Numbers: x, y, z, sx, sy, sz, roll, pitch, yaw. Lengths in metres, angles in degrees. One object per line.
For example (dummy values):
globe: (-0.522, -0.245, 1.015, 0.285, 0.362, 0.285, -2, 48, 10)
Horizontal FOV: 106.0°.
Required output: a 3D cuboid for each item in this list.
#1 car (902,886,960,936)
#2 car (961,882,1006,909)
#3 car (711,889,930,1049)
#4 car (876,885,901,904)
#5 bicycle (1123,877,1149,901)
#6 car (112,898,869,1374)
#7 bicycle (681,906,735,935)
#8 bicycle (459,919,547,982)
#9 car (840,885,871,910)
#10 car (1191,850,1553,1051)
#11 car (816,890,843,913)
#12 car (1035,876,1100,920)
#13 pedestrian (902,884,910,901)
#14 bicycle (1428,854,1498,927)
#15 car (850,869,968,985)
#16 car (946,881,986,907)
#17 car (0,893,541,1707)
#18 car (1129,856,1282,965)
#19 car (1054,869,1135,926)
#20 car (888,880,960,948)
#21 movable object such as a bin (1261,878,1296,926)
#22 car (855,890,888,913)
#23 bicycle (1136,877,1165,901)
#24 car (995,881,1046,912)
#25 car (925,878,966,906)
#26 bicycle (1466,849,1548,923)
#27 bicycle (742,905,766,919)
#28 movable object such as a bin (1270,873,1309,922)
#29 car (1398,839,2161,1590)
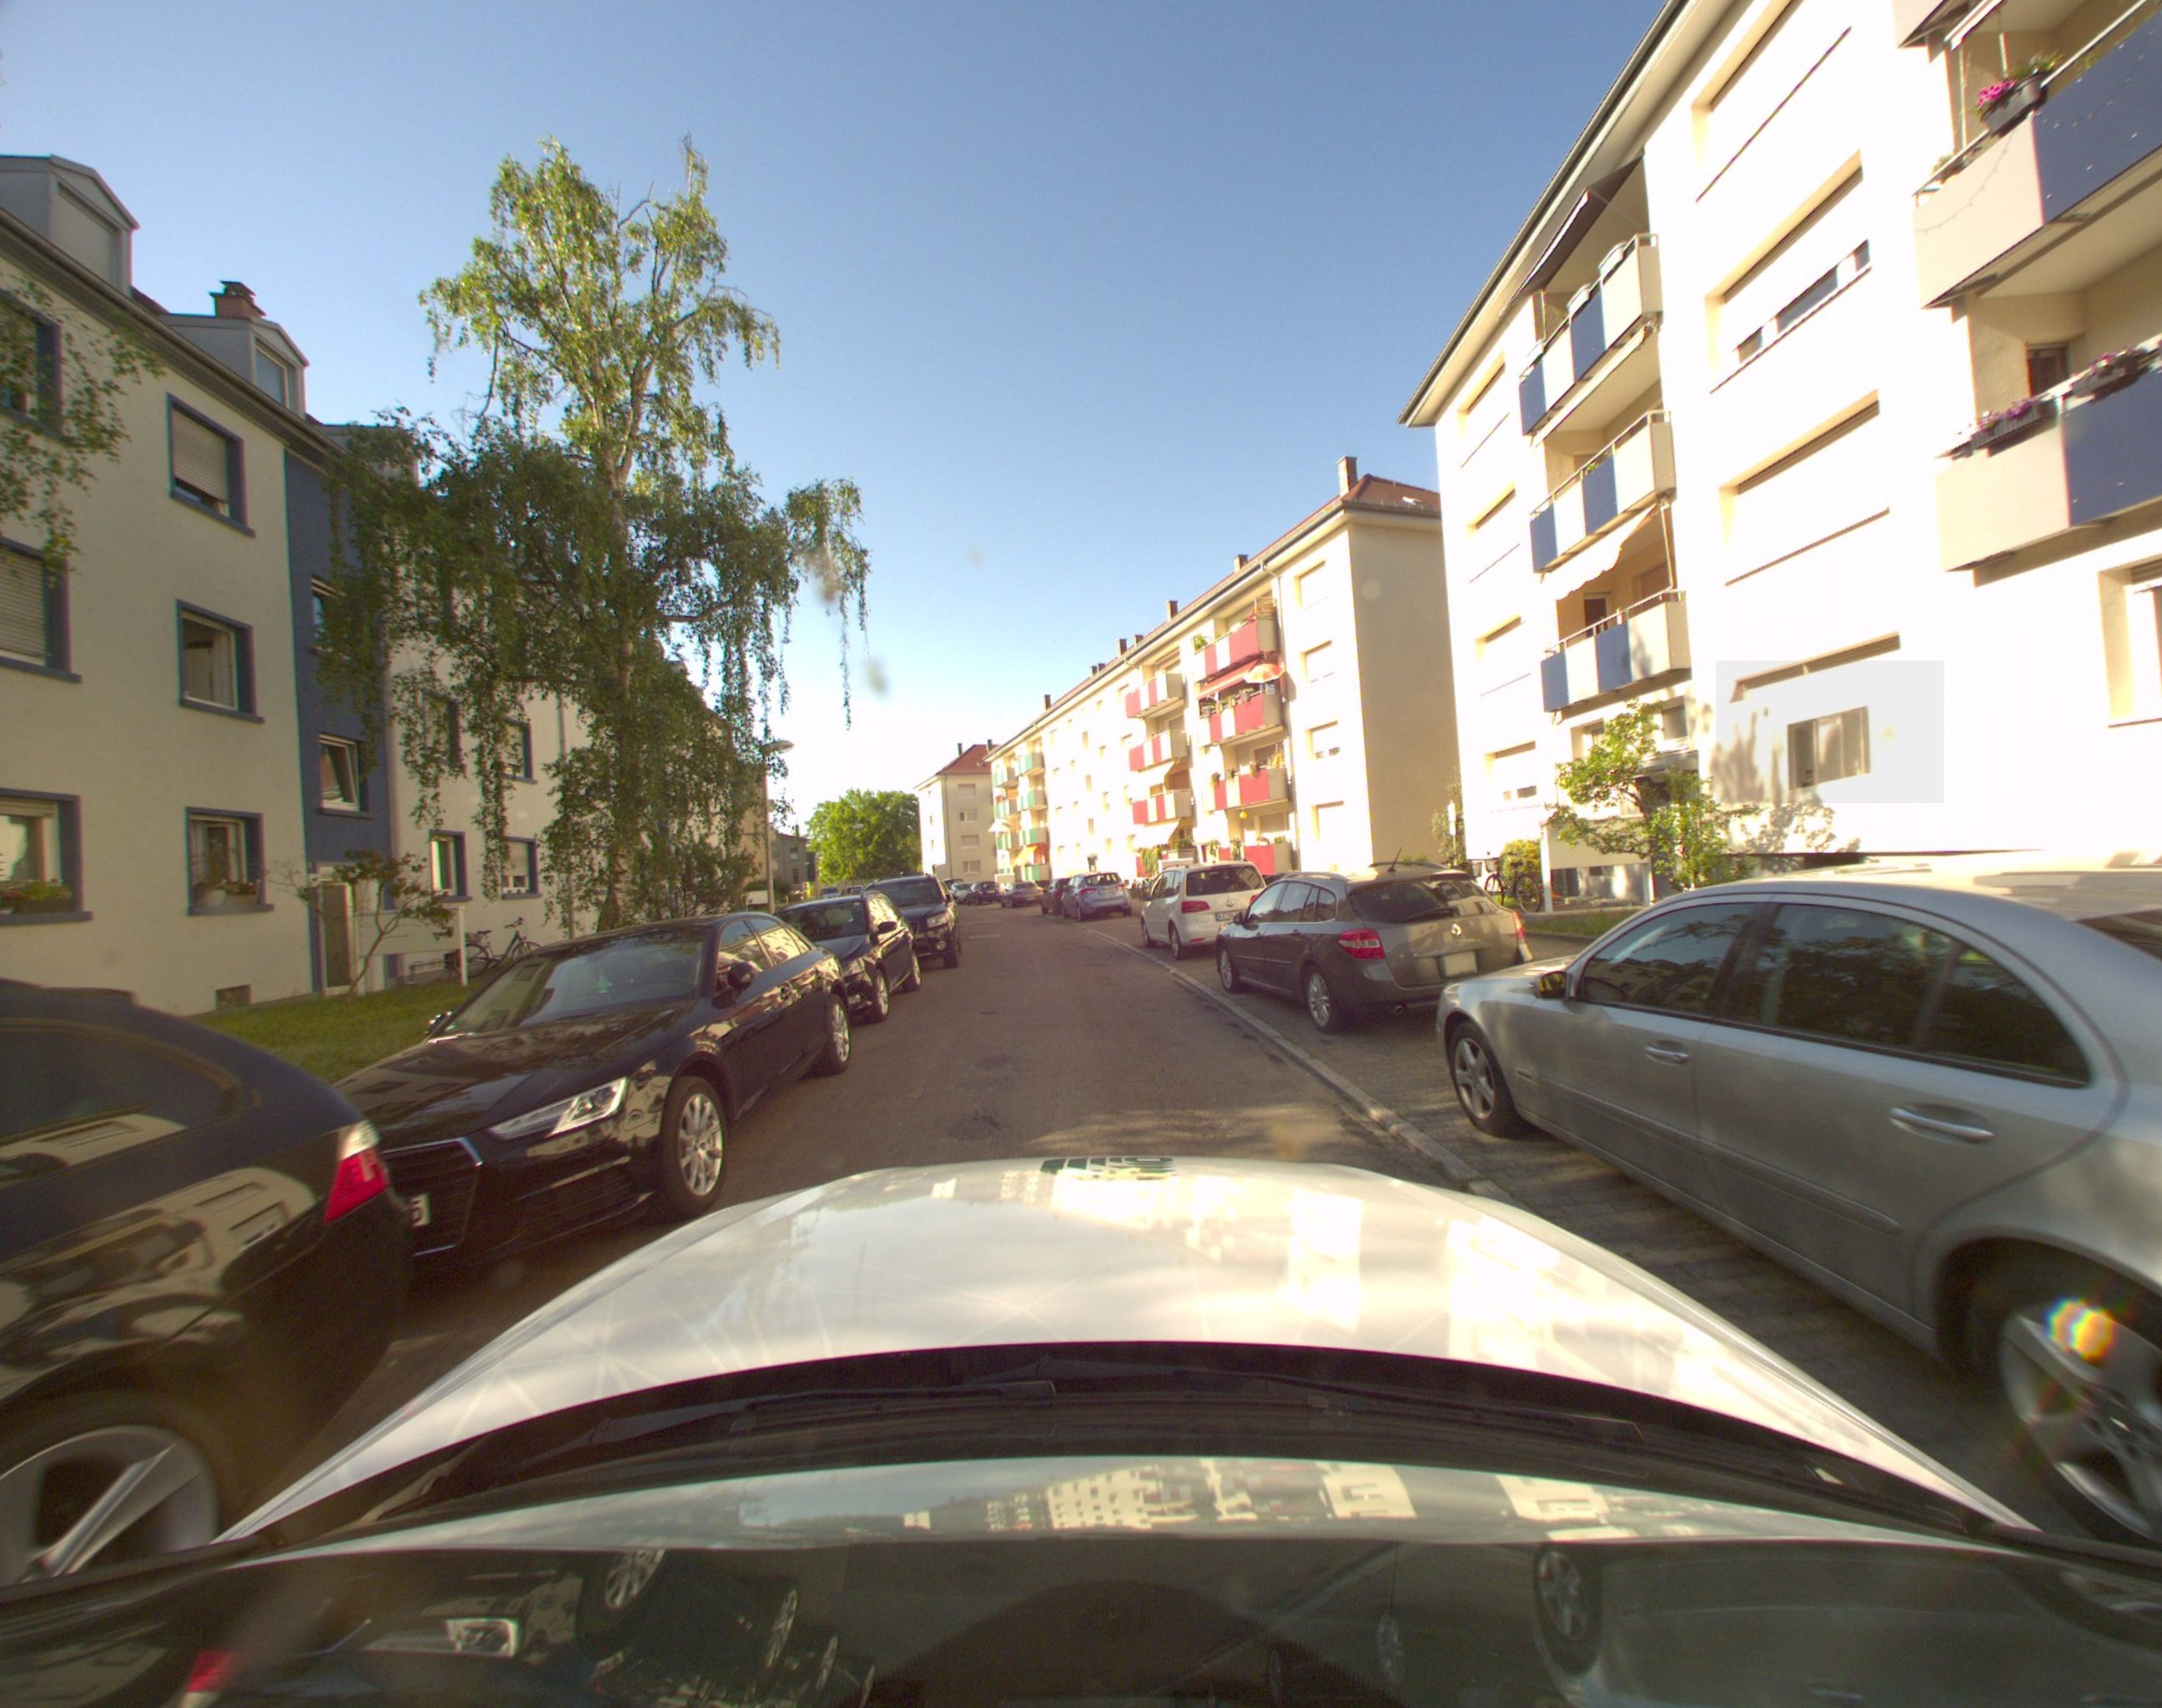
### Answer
car: (-5.275, 1.924, 28.324, 1.696, 1.445, 4.001, -5, -1, -13)
car: (-6.290, 2.671, 52.138, 1.745, 1.431, 4.324, -5, -1, -21)
car: (-3.086, 1.281, 10.484, 1.552, 1.442, 3.963, -7, -2, -3)
car: (-20.334, 4.265, 85.754, 1.773, 1.739, 4.062, -5, -2, -23)
bicycle: (2.490, 1.622, 37.125, 0.499, 1.020, 1.831, -5, -2, -16)
car: (-2.732, 1.137, 5.156, 1.674, 1.442, 4.275, -7, -2, -3)
bicycle: (-14.495, 2.577, 31.648, 1.817, 1.078, 0.567, -1, -2, -5)
bicycle: (-12.136, 2.014, 17.121, 1.410, 1.152, 0.414, -4, -2, -12)
car: (-18.888, 3.666, 68.125, 1.905, 1.855, 4.161, -3, -3, -23)
car: (2.681, 0.857, 8.880, 1.693, 1.431, 4.675, -5, -2, -7)
car: (-25.327, 4.780, 81.943, 2.003, 2.013, 4.418, -5, -2, -23)
car: (-0.600, 1.778, 33.250, 1.738, 1.508, 3.867, -6, -1, -13)
pedestrian: (-19.112, 4.171, 88.790, 0.655, 1.815, 0.611, -5, -2, -14)
bicycle: (6.855, 0.627, 14.697, 0.512, 1.203, 1.765, -6, -1, 8)
car: (-3.115, 1.267, 15.485, 1.554, 1.714, 4.327, -7, -2, -6)
car: (-8.018, 2.768, 56.582, 1.689, 1.588, 3.981, -4, -2, -23)
car: (-2.642, 0.886, 0.235, 1.672, 1.453, 4.621, -7, -2, 1)
car: (2.201, 1.069, 15.727, 1.692, 1.656, 4.378, -5, -3, -7)
car: (0.376, 1.449, 28.284, 1.768, 1.635, 4.023, -5, 0, -13)
car: (-4.298, 1.602, 22.746, 1.694, 1.561, 4.142, -4, -2, -9)
movable object such as a bin: (4.816, 1.160, 19.890, 0.582, 1.095, 0.682, -6, -2, -2)
car: (-15.135, 3.430, 58.701, 1.666, 1.443, 3.840, -5, -2, -24)
bicycle: (3.180, 1.602, 37.297, 0.619, 0.978, 1.885, -7, 1, -16)
car: (-3.264, 2.242, 43.355, 1.690, 1.363, 4.213, -6, -1, -18)
car: (-10.246, 2.913, 61.291, 1.906, 1.855, 4.307, -3, -3, -24)
bicycle: (7.641, 0.559, 14.706, 0.512, 1.203, 1.835, -6, -1, 4)
bicycle: (-25.755, 4.570, 64.181, 1.653, 0.936, 0.543, -5, -2, -22)
movable object such as a bin: (4.862, 1.015, 19.024, 0.582, 1.056, 0.640, -7, -3, -2)
car: (2.948, 0.723, 3.019, 1.672, 1.447, 4.723, -3, -2, 0)
